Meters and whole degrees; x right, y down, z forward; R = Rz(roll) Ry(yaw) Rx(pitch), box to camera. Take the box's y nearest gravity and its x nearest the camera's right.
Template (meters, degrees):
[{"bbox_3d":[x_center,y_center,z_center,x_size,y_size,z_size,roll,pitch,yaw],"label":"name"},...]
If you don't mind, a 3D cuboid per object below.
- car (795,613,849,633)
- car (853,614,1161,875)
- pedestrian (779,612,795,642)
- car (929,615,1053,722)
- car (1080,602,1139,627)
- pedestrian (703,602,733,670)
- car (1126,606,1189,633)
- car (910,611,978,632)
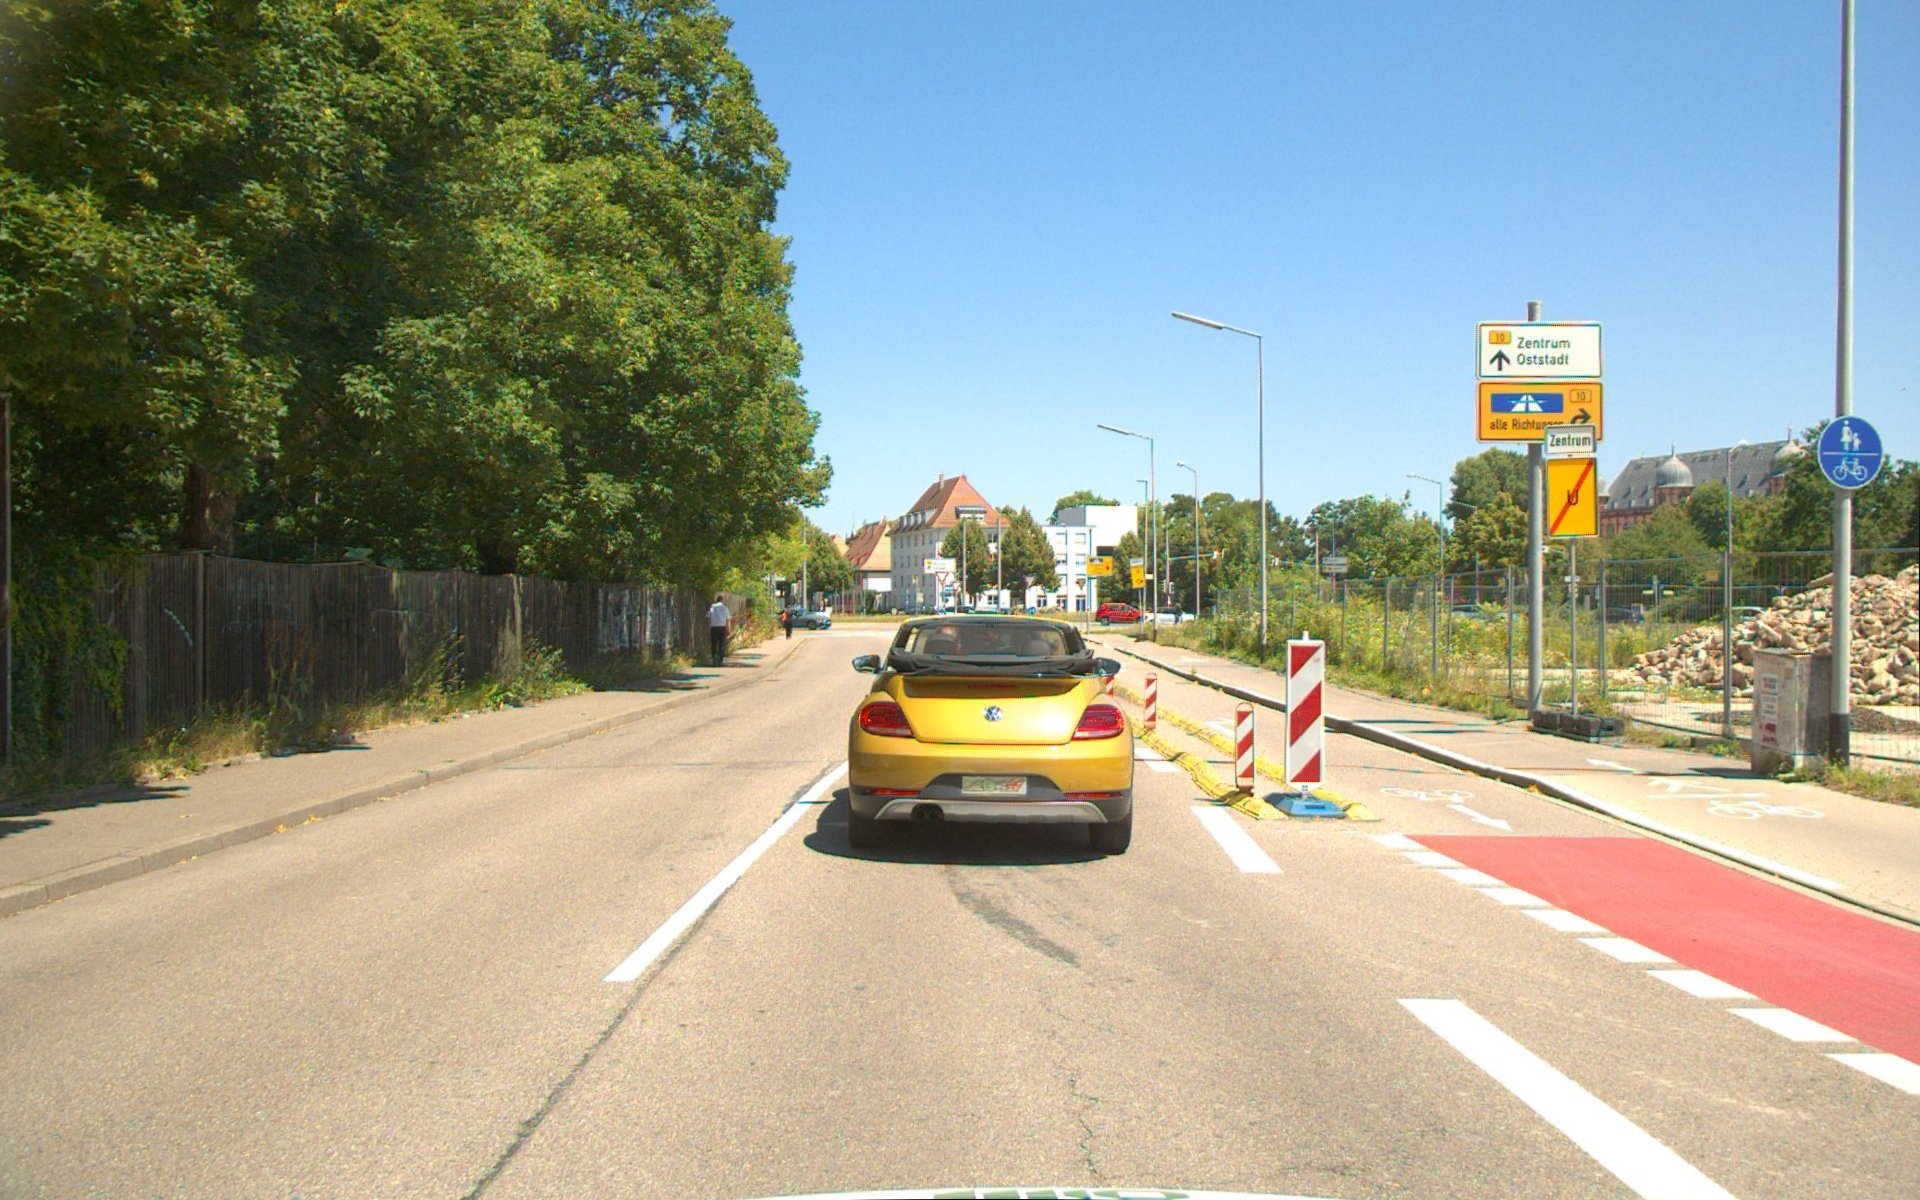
[{"bbox_3d":[-9.256,1.534,111.319,3.364,1.298,1.407,-1,0,9],"label":"car"},{"bbox_3d":[0.244,0.838,11.338,1.753,1.462,3.813,0,0,-1],"label":"car"},{"bbox_3d":[-8.447,1.307,80.768,0.708,1.480,0.817,0,-1,-3],"label":"pedestrian"},{"bbox_3d":[0.465,0.964,24.710,1.691,1.468,4.000,0,-1,1],"label":"car"},{"bbox_3d":[10.479,1.024,115.849,3.977,1.706,1.786,0,-1,9],"label":"car"},{"bbox_3d":[-6.279,0.922,42.991,0.708,1.756,0.817,0,-1,-3],"label":"pedestrian"},{"bbox_3d":[12.872,1.257,107.695,3.977,1.706,1.786,0,-1,8],"label":"car"},{"bbox_3d":[-1.053,1.397,109.611,4.345,1.382,1.538,0,-1,7],"label":"car"}]
